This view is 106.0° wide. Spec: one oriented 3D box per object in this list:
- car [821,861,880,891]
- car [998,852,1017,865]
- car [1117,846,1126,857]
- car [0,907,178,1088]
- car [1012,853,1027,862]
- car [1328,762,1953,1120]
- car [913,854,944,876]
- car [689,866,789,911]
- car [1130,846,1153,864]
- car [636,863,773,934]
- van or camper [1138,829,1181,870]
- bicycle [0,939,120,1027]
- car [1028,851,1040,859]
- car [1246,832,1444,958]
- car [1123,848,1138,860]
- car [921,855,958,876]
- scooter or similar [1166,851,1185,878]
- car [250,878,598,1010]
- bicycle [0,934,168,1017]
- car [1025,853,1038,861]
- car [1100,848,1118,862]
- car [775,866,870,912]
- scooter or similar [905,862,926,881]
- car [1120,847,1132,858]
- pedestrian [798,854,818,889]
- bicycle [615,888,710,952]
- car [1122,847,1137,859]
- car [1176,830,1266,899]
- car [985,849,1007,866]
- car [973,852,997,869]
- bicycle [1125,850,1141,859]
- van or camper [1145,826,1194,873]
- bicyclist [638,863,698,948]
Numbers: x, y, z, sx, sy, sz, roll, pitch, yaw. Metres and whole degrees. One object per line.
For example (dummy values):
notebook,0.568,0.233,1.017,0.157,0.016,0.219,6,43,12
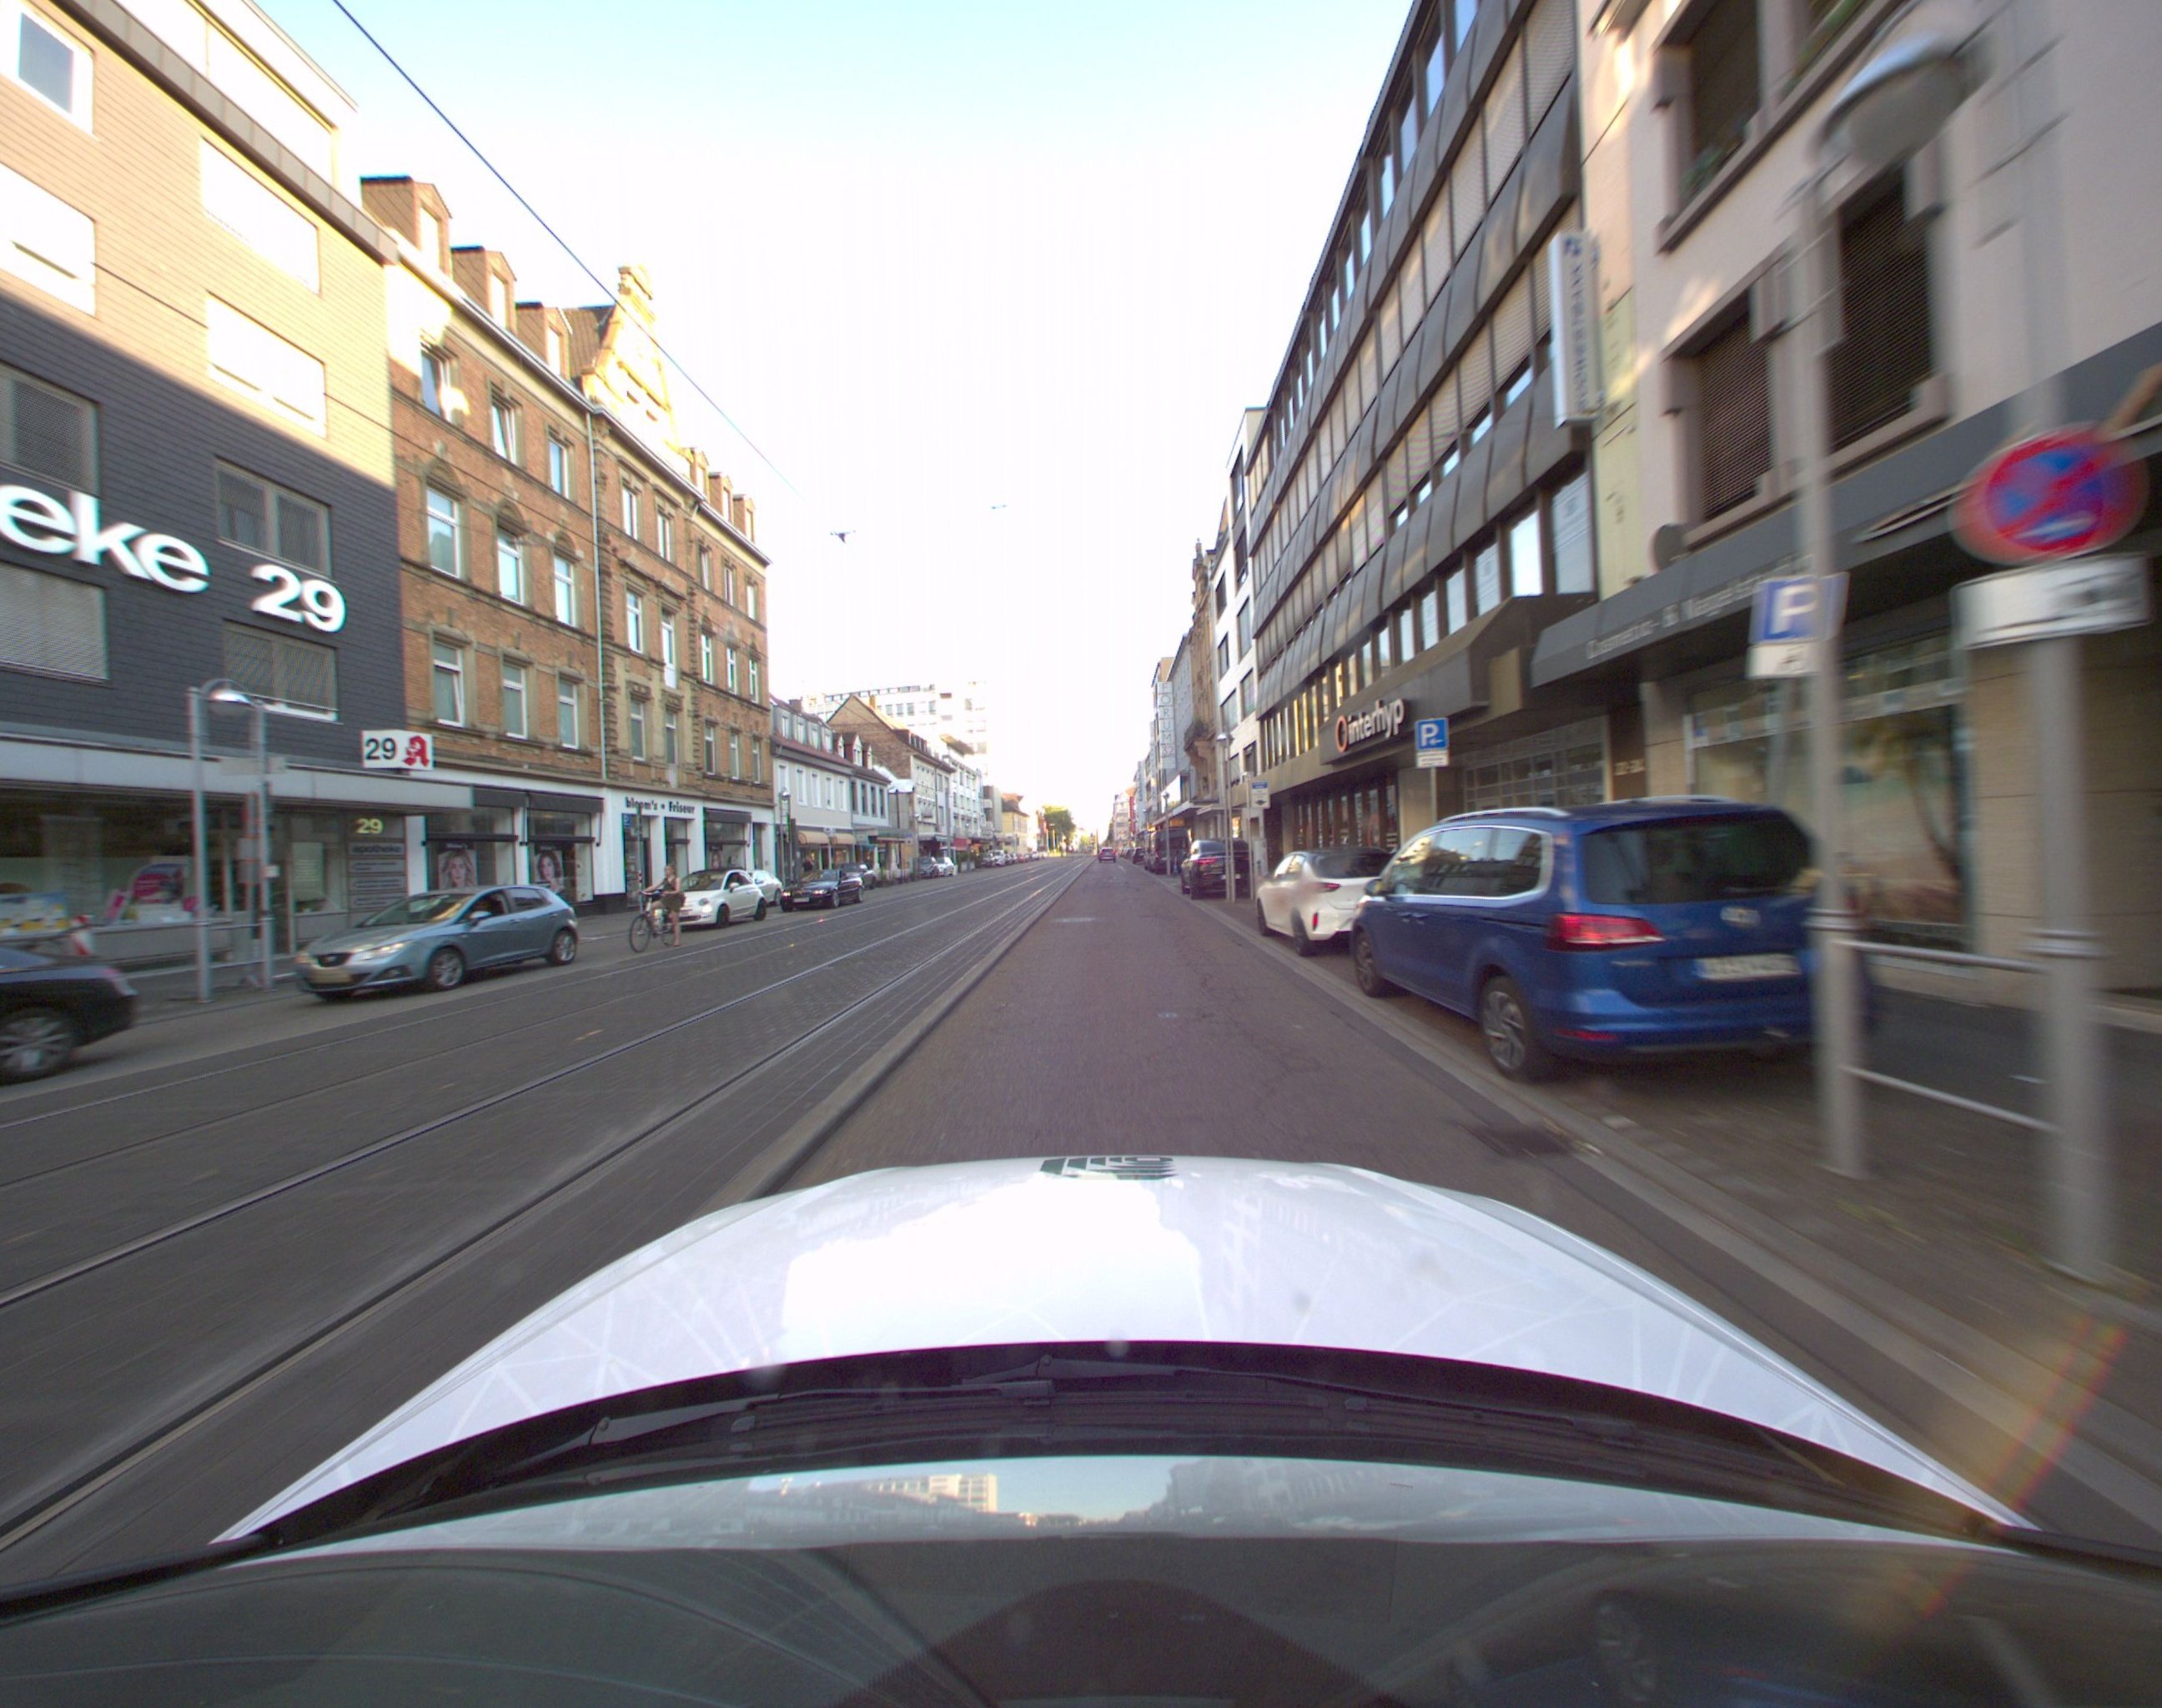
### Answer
car,-11.626,1.068,41.310,1.727,1.389,3.867,0,0,2
car,-9.416,0.562,104.484,1.910,1.521,4.631,0,0,1
car,8.699,-0.632,175.089,1.936,2.145,4.548,-5,0,3
car,-9.791,1.289,5.573,1.907,1.386,4.566,-5,0,2
car,-9.052,0.465,120.557,1.784,1.339,3.892,0,0,1
car,3.602,0.446,6.530,1.907,1.717,4.566,-5,0,2
car,-10.730,0.765,57.302,1.586,1.504,2.813,0,0,1
car,-12.083,1.168,29.077,1.753,1.389,4.273,0,0,0
car,5.677,0.081,77.053,1.936,1.544,4.548,-5,0,3
car,-9.661,1.072,21.240,1.661,1.505,3.682,-5,0,1
van or camper,5.153,-0.288,54.133,2.181,2.426,5.518,-5,0,0
bicycle,-12.847,1.552,9.881,1.849,0.983,0.462,0,0,1
car,-8.310,0.228,145.110,1.784,1.449,3.892,0,0,1
car,3.786,0.521,12.418,1.759,1.485,3.874,-5,0,1
car,6.941,0.009,114.926,1.936,1.544,4.548,-5,0,3
car,-10.681,0.854,61.824,1.842,1.504,4.844,0,0,2
scooter or similar,4.619,0.502,39.920,0.350,1.224,1.123,-5,0,34
car,-9.521,1.206,12.340,1.751,1.386,4.063,-5,0,2
bicycle,-12.834,1.539,10.397,1.849,0.983,0.462,0,0,1
car,-8.423,0.506,139.058,1.784,1.449,3.892,0,0,1
car,3.133,0.079,91.736,1.936,1.545,4.548,-2,0,3
car,-8.643,1.128,27.640,1.661,1.228,4.275,-5,0,1
scooter or similar,-10.960,1.159,54.008,1.309,1.205,0.294,0,0,2
car,7.493,-0.206,136.596,1.936,1.703,4.548,-5,0,3
pedestrian,-13.925,0.898,41.571,0.645,1.772,0.855,-1,0,2
bicycle,-8.020,1.238,15.722,0.691,1.034,2.082,-2,0,1
car,7.142,-0.182,120.378,1.936,1.544,4.548,-5,0,3
car,4.100,0.279,24.630,1.976,1.734,4.674,-5,0,3
car,-10.043,0.372,96.552,1.910,1.935,4.844,0,0,2
car,-10.404,0.669,88.430,1.910,1.763,4.432,0,0,2
bicycle,7.168,0.086,111.369,2.112,1.090,0.591,-3,0,-1
van or camper,5.127,-0.268,47.817,2.181,2.426,6.134,-5,0,2
bicyclist,-8.032,0.983,15.858,0.691,1.565,0.799,-2,0,0
